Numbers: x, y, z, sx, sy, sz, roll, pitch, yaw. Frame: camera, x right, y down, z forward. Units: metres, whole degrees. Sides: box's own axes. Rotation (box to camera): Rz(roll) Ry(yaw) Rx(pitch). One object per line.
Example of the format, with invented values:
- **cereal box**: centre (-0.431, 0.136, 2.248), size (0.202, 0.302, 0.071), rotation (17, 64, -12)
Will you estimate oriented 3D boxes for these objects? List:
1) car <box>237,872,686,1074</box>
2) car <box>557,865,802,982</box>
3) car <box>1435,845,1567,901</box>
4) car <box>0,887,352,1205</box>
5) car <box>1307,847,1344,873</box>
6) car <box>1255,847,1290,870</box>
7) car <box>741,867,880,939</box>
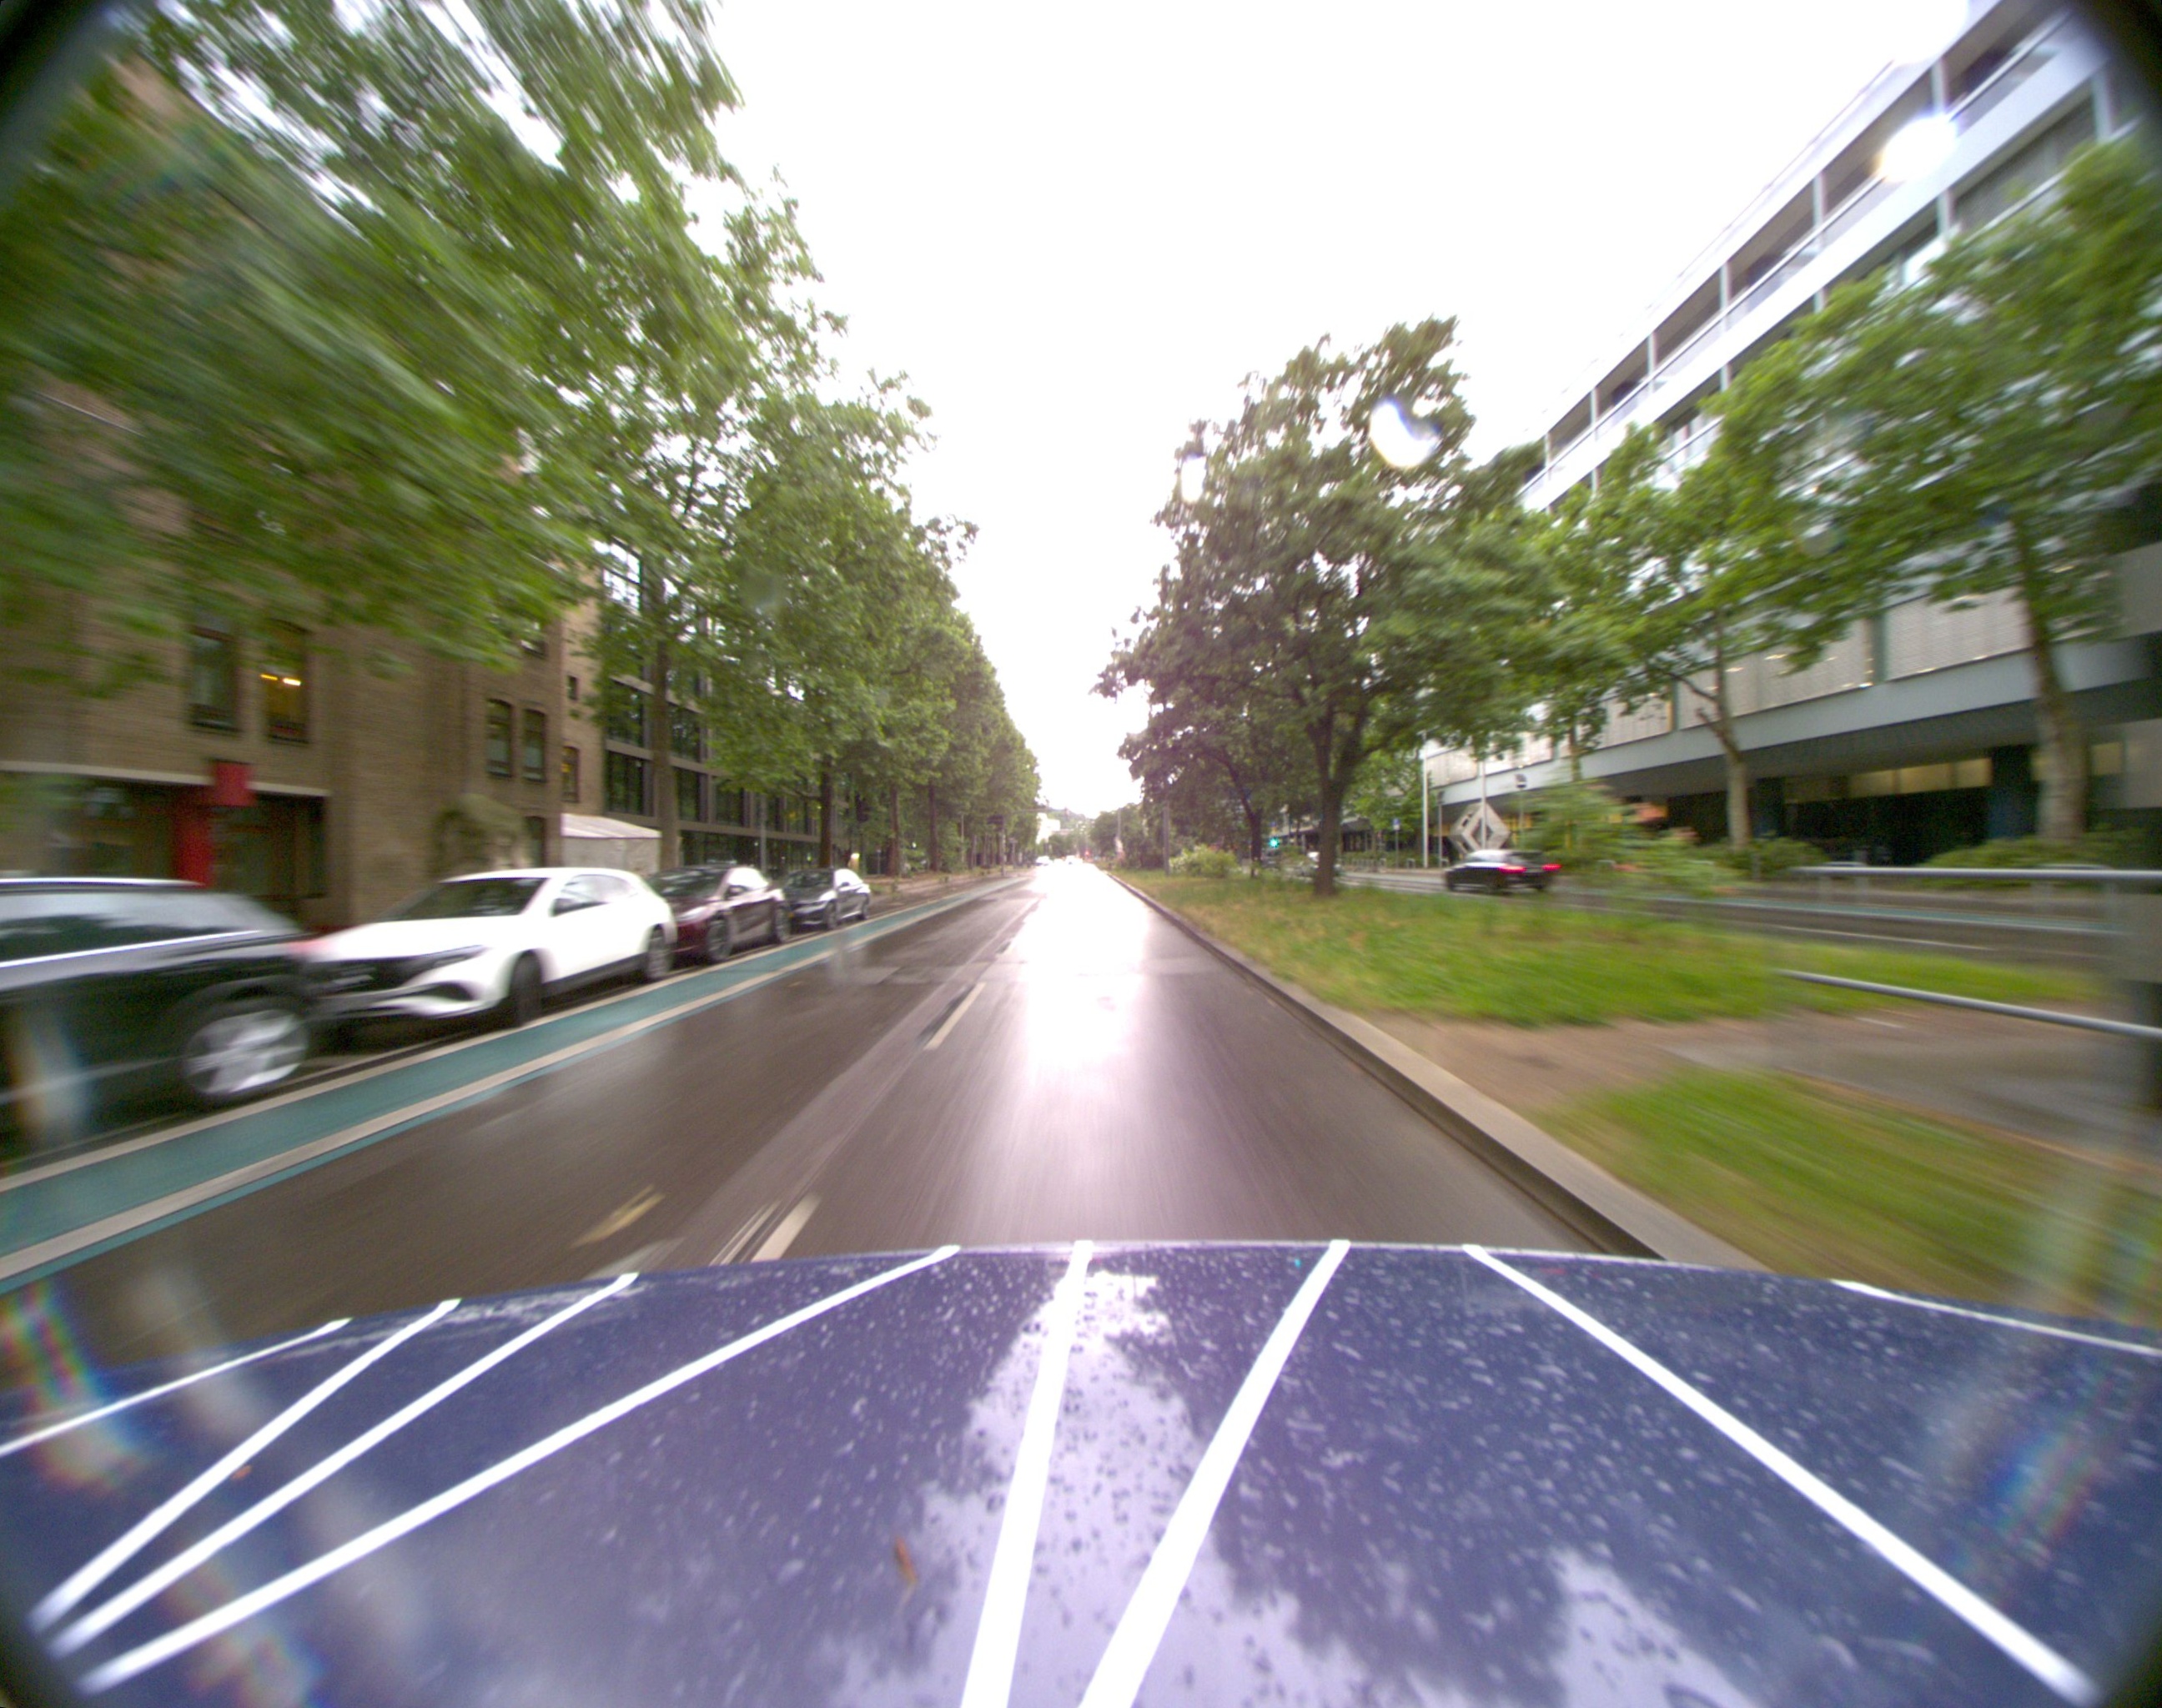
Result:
- **car**: centre (-6.515, 1.082, 8.814), size (1.756, 1.576, 4.408), rotation (-2, 0, -4)
- **car**: centre (-6.788, 1.068, 13.542), size (1.999, 1.580, 4.559), rotation (-2, 0, -2)
- **car**: centre (13.815, 0.579, 25.376), size (1.998, 1.483, 4.758), rotation (-7, -1, 6)
- **car**: centre (-6.668, 1.105, 3.772), size (1.797, 1.593, 4.423), rotation (-2, 0, -1)
- **car**: centre (14.596, 0.344, 45.506), size (1.163, 1.454, 3.561), rotation (-1, 0, 3)
- **car**: centre (15.414, 0.345, 61.449), size (1.998, 1.791, 4.283), rotation (-1, 0, 4)
- **car**: centre (-6.602, 1.118, 19.148), size (1.747, 1.424, 4.585), rotation (-2, 0, 1)
